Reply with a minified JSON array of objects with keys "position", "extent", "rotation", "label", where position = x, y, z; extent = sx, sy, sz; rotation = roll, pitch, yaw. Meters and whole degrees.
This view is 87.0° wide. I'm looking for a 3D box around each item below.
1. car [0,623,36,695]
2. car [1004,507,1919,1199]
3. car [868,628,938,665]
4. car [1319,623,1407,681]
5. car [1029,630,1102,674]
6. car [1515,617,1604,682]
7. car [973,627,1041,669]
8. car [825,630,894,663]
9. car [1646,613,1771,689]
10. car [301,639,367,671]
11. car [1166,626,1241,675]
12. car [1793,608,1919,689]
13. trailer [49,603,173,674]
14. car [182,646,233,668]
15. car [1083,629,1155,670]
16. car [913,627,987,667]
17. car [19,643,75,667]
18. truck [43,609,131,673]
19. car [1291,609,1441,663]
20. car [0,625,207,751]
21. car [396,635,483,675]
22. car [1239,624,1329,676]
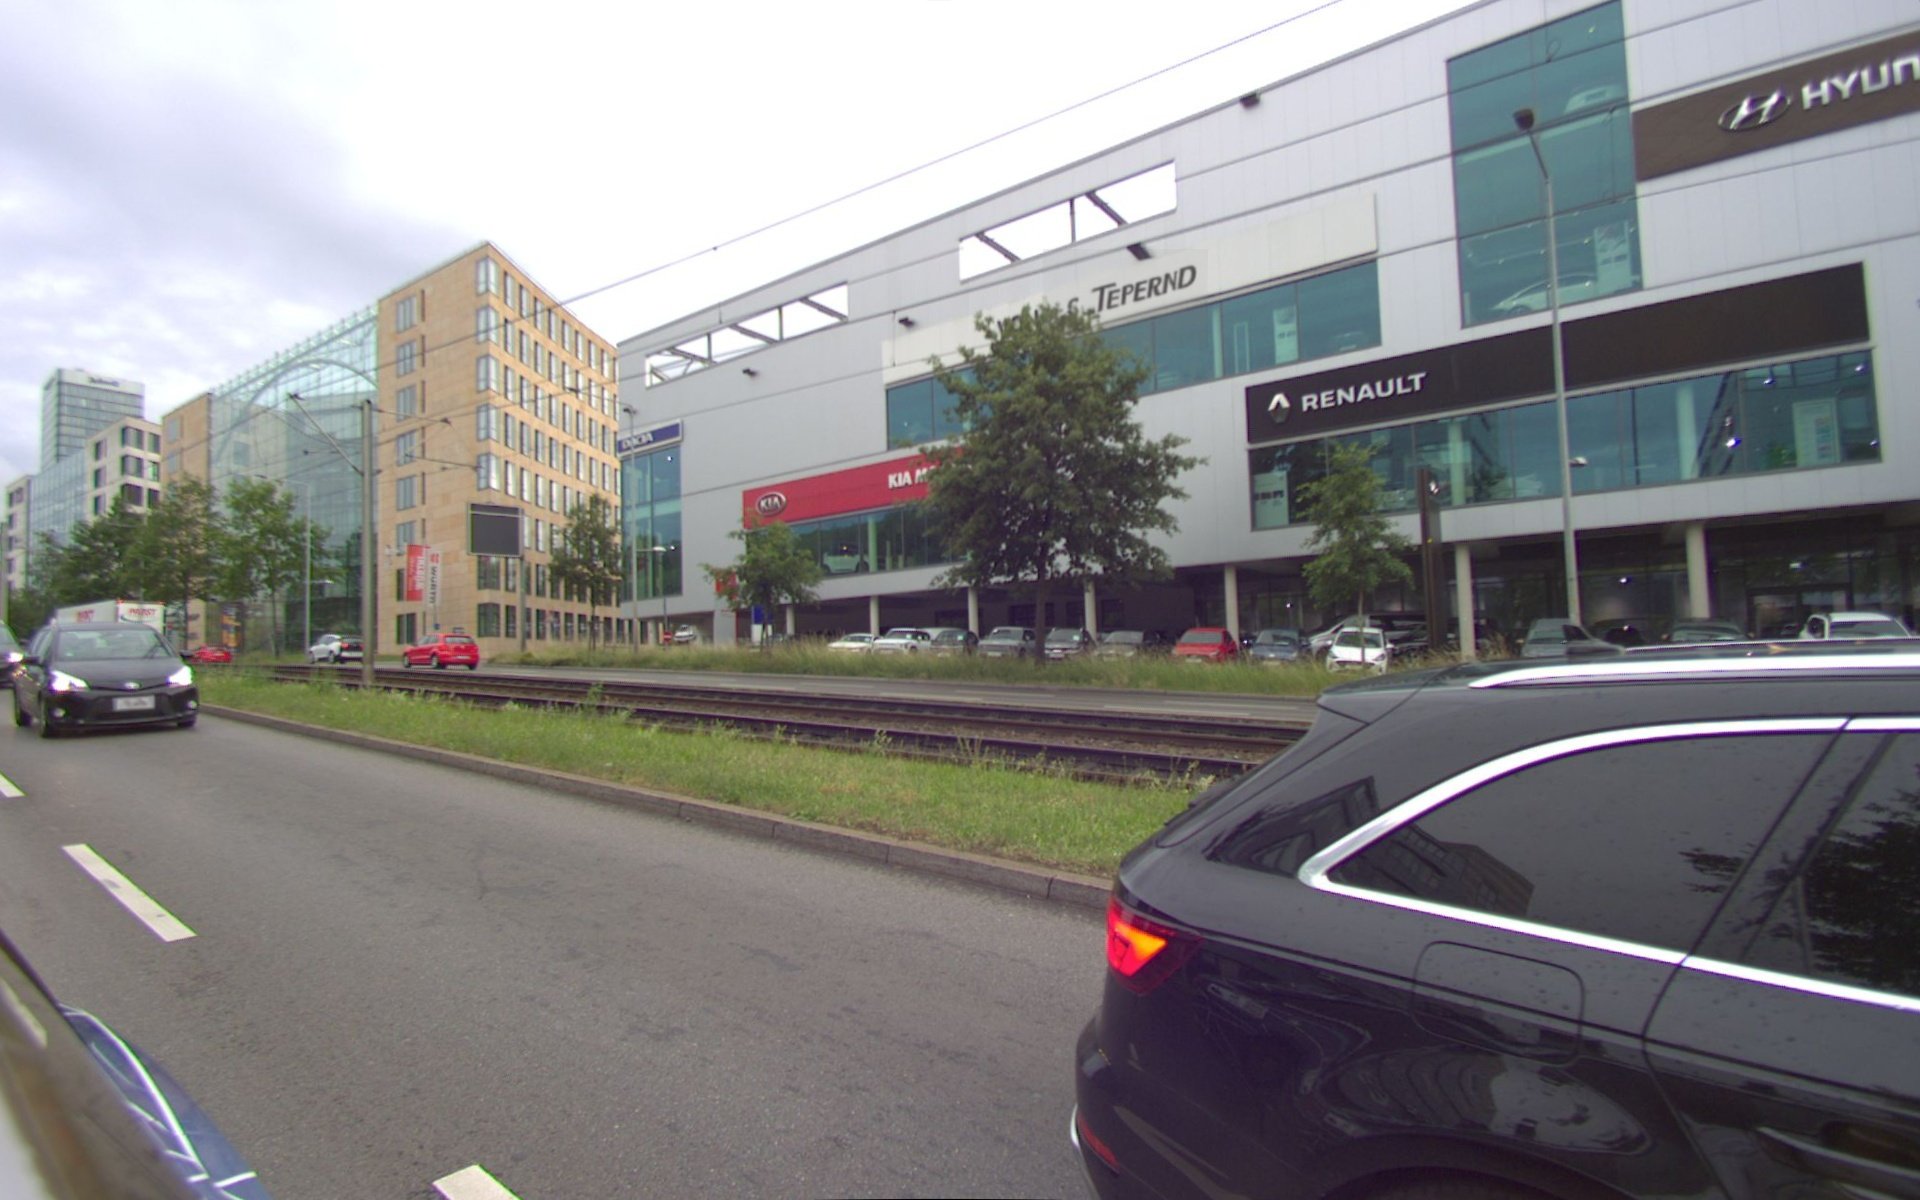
[{"position":[-23.655,1.399,24.203],"extent":[4.314,1.619,1.764],"rotation":[-2,-1,40],"label":"car"},{"position":[2.359,0.620,1.084],"extent":[4.511,1.478,1.762],"rotation":[-2,-2,41],"label":"car"},{"position":[-2.360,1.928,42.574],"extent":[1.685,1.304,3.643],"rotation":[-2,1,18],"label":"car"},{"position":[12.386,1.537,30.960],"extent":[1.914,1.470,4.005],"rotation":[-2,1,30],"label":"car"},{"position":[3.933,1.880,37.396],"extent":[1.688,1.362,3.498],"rotation":[-2,1,24],"label":"car"},{"position":[16.293,1.283,27.586],"extent":[1.925,1.470,3.981],"rotation":[-2,1,30],"label":"car"},{"position":[1.881,1.840,39.300],"extent":[1.686,1.362,3.503],"rotation":[-2,1,20],"label":"car"},{"position":[-4.351,2.003,44.250],"extent":[1.685,1.196,3.643],"rotation":[-2,1,18],"label":"car"},{"position":[18.493,1.201,25.201],"extent":[1.992,1.562,4.331],"rotation":[-2,1,30],"label":"car"},{"position":[-33.519,2.915,54.143],"extent":[4.093,1.593,1.668],"rotation":[-2,-2,37],"label":"car"},{"position":[8.248,1.647,34.059],"extent":[1.789,1.362,3.903],"rotation":[-2,1,24],"label":"car"},{"position":[21.031,1.048,23.426],"extent":[1.992,1.562,4.331],"rotation":[-2,1,30],"label":"car"},{"position":[-56.966,2.631,67.705],"extent":[13.254,4.363,3.106],"rotation":[-2,-4,36],"label":"trailer"},{"position":[-49.228,3.707,66.201],"extent":[4.018,1.380,1.668],"rotation":[-2,-2,37],"label":"car"},{"position":[5.681,1.724,35.937],"extent":[1.688,1.190,3.498],"rotation":[-2,1,24],"label":"car"},{"position":[-0.353,1.866,40.644],"extent":[1.688,1.362,3.499],"rotation":[-2,1,23],"label":"car"},{"position":[-58.474,3.498,64.786],"extent":[4.088,1.447,1.670],"rotation":[-1,-4,34],"label":"car"},{"position":[-61.204,2.879,70.872],"extent":[7.017,4.276,3.106],"rotation":[-2,-5,37],"label":"truck"},{"position":[14.392,1.281,36.113],"extent":[4.488,1.796,1.997],"rotation":[-1,-2,5],"label":"car"},{"position":[-12.280,1.141,14.406],"extent":[3.823,1.544,1.683],"rotation":[-2,-2,40],"label":"car"},{"position":[-21.057,2.209,40.885],"extent":[4.098,1.524,1.568],"rotation":[-2,-4,40],"label":"car"},{"position":[10.511,1.567,32.656],"extent":[1.914,1.362,4.005],"rotation":[-2,1,30],"label":"car"}]
